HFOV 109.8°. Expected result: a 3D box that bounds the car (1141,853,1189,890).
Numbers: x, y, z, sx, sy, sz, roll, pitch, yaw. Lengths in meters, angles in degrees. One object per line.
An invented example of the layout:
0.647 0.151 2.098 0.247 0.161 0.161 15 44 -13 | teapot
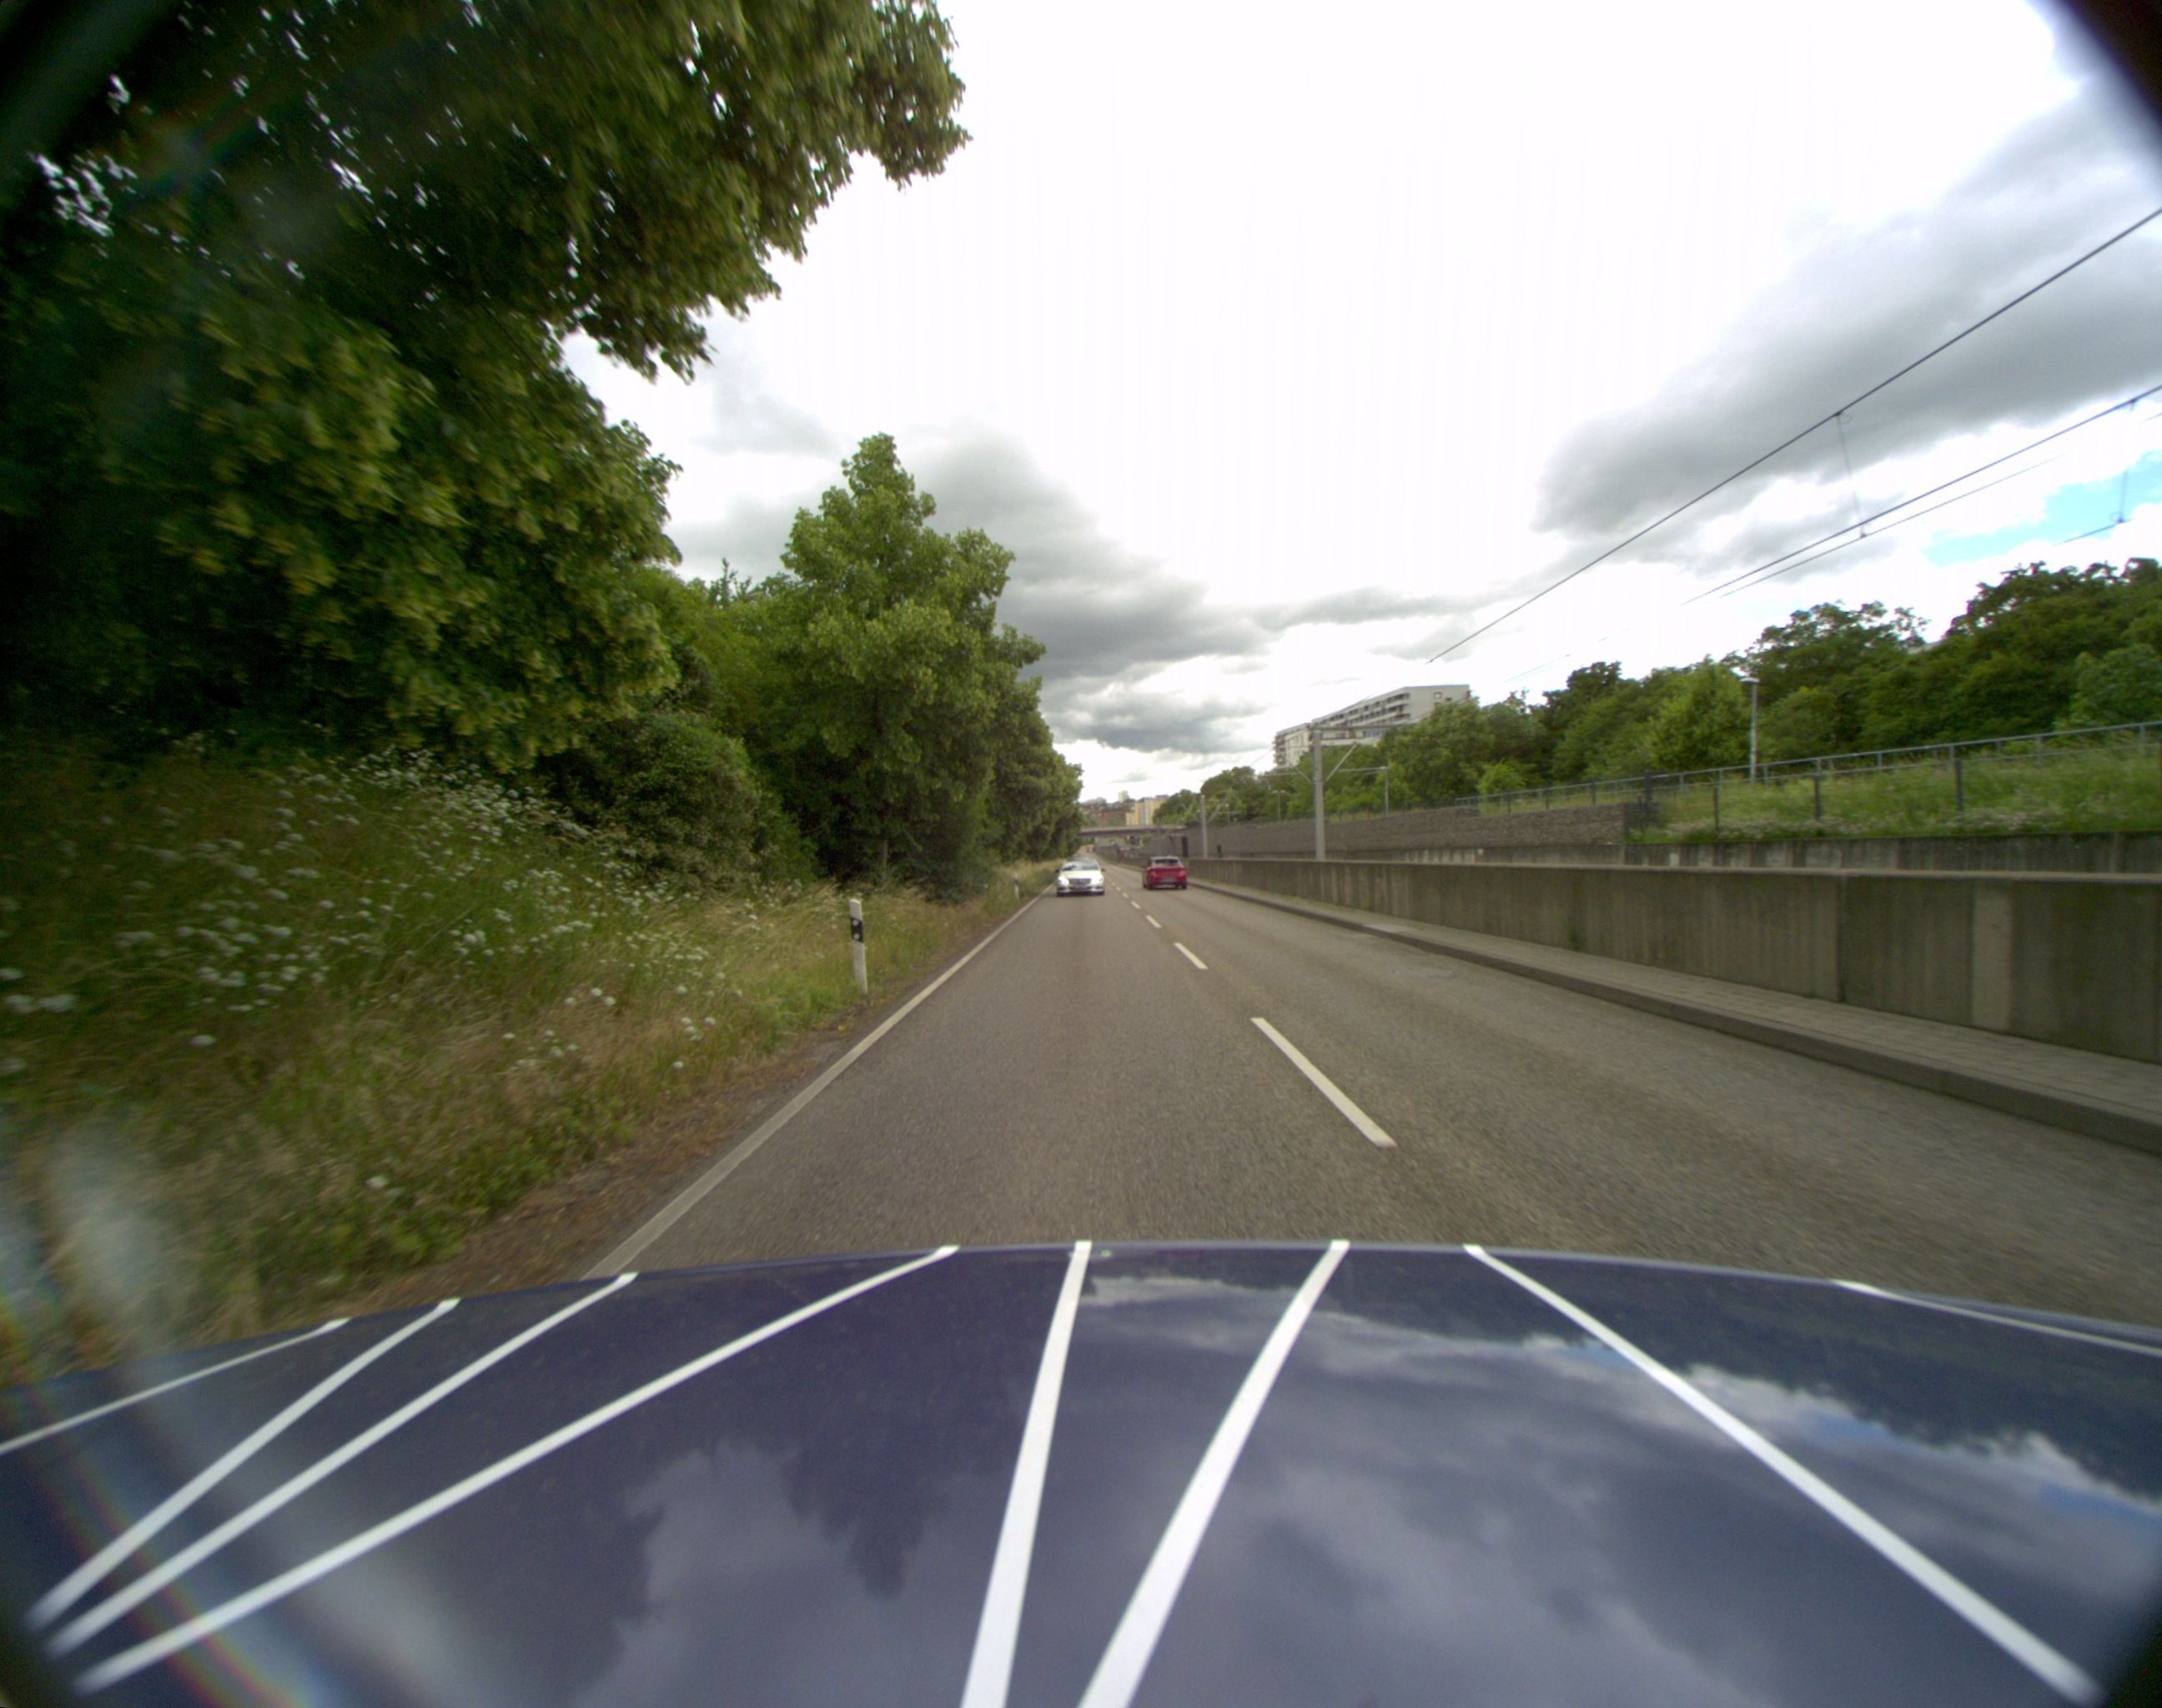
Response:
3.725 0.739 34.145 1.667 1.536 3.952 -1 0 0 | car

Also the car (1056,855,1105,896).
-0.005 0.835 31.257 1.842 1.499 4.160 -1 0 0 | car
